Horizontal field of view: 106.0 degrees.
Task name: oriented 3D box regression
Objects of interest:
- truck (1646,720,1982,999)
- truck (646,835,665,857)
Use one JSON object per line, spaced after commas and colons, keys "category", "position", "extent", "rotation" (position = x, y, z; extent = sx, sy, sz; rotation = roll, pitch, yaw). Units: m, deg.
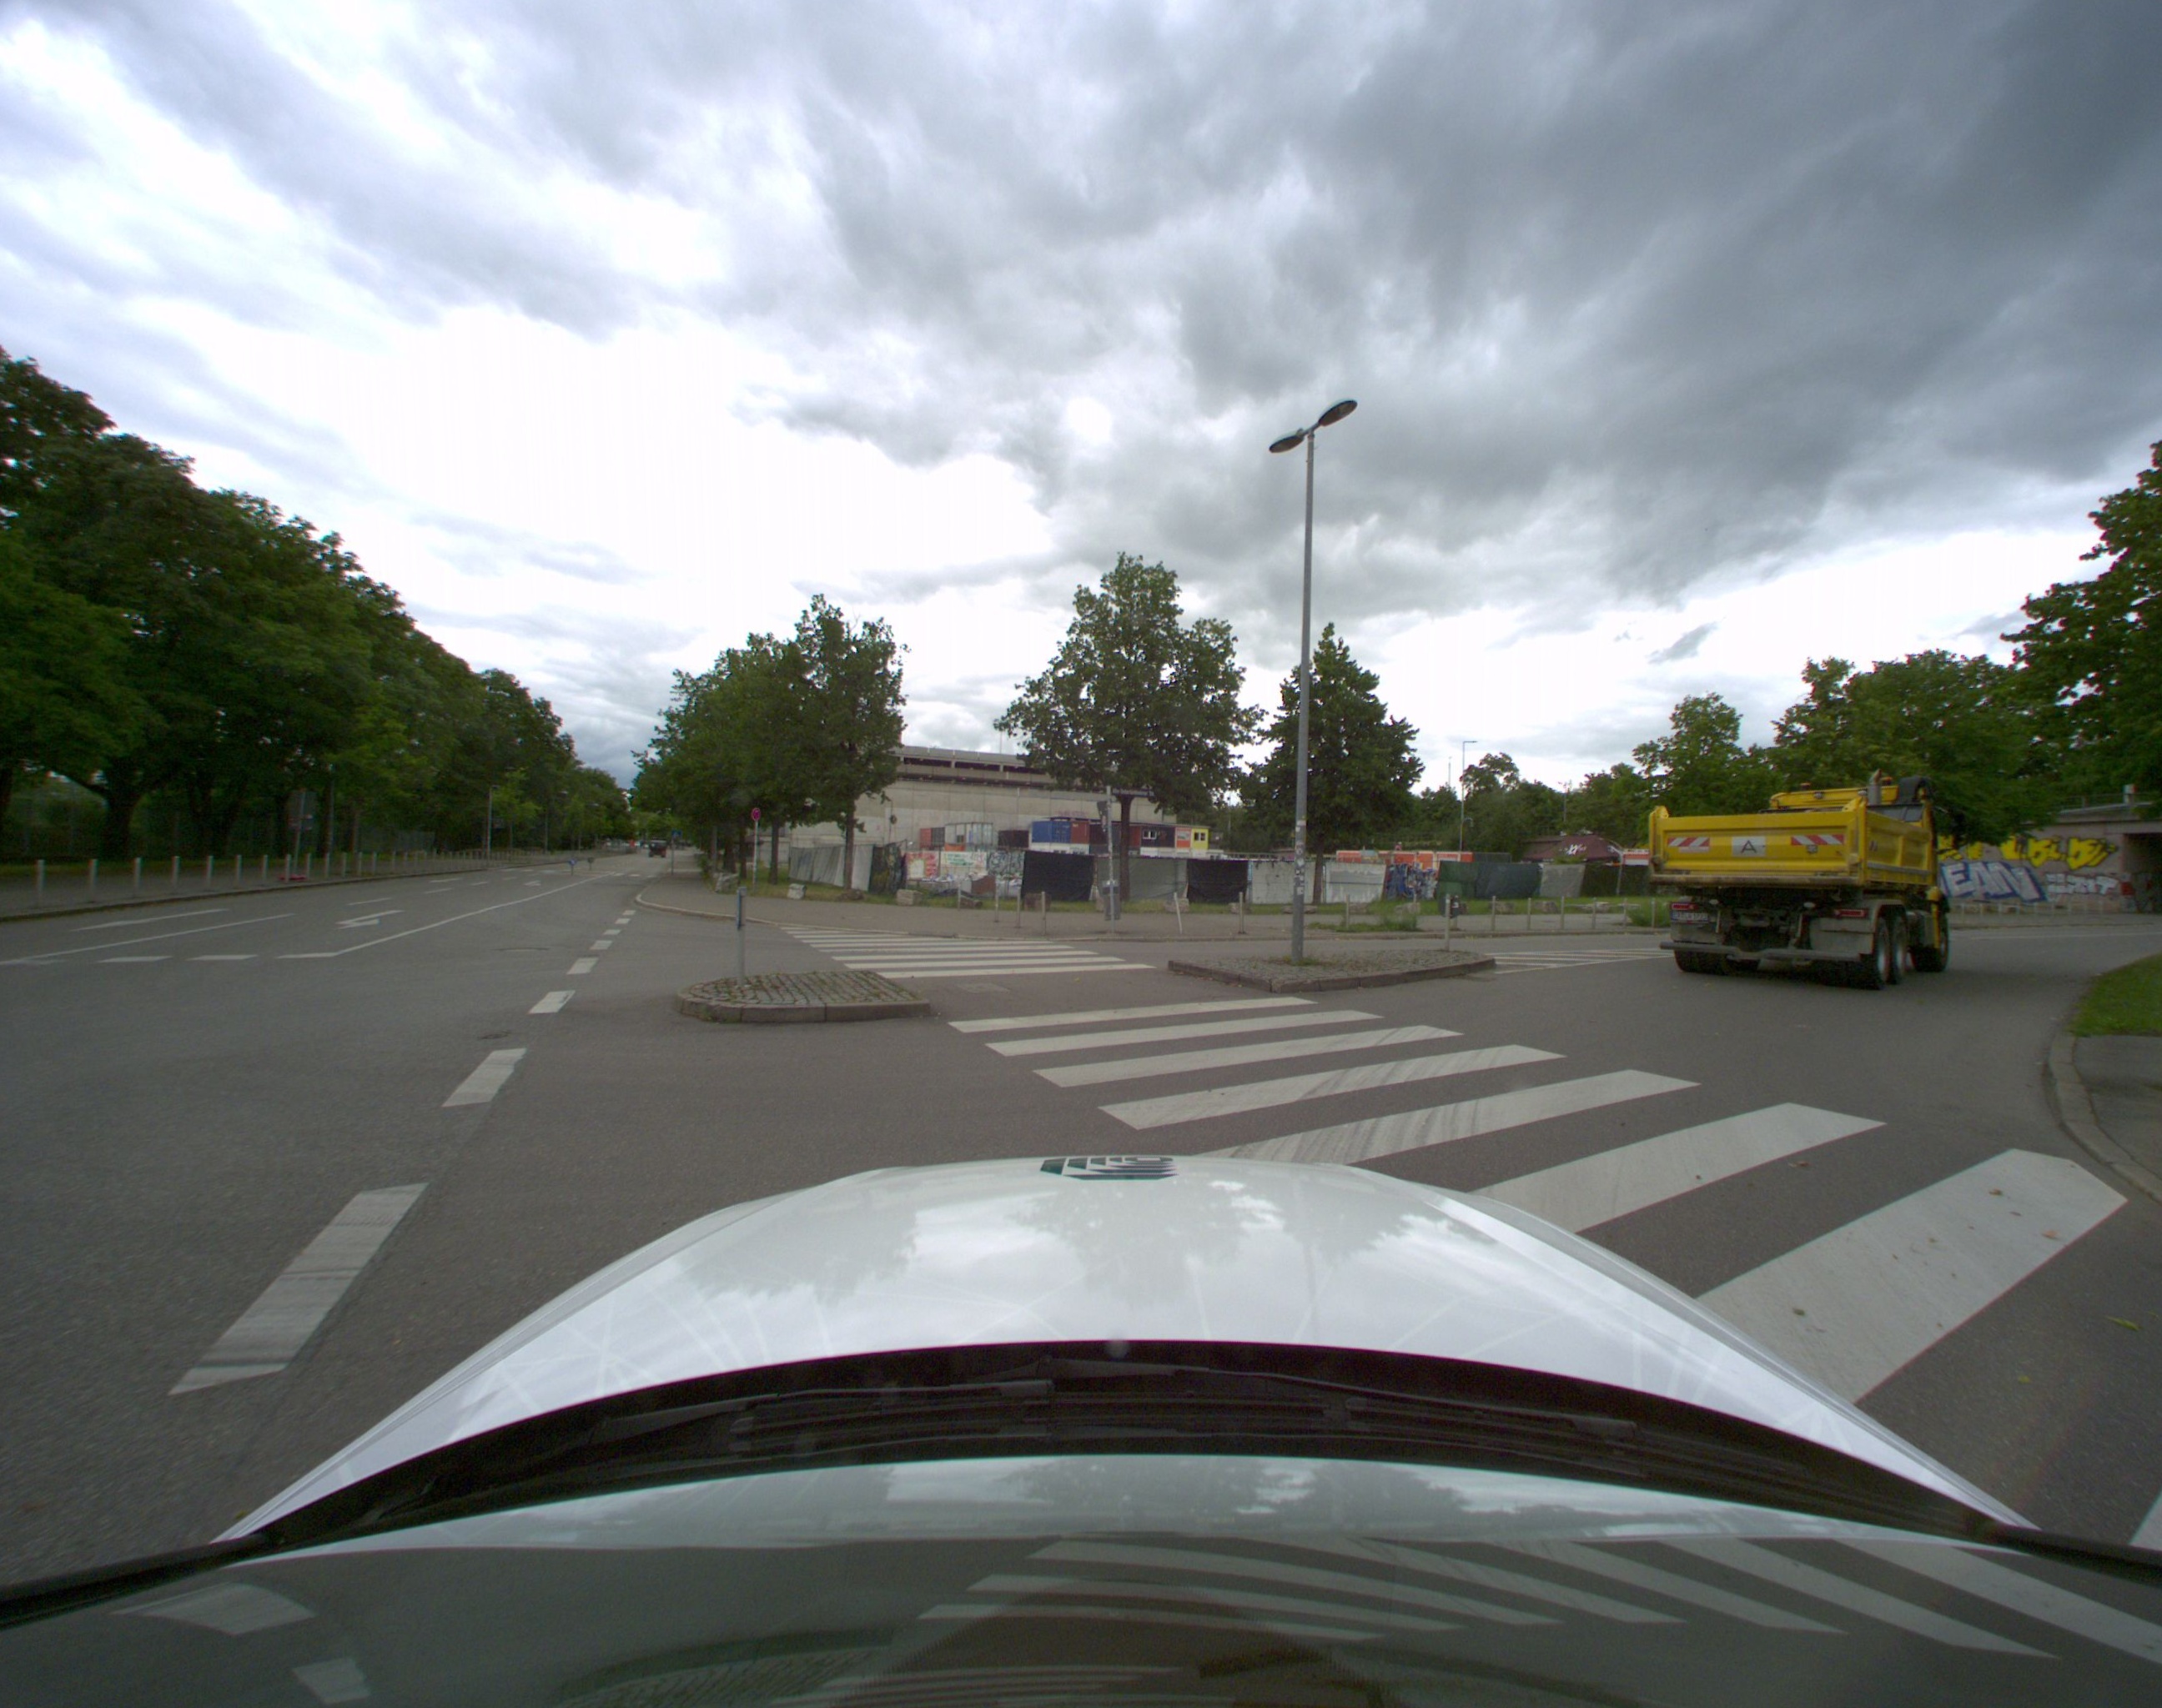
{"category": "truck", "position": [13.060, 0.120, 14.235], "extent": [7.913, 3.698, 2.737], "rotation": [1, 0, -36]}
{"category": "truck", "position": [-72.589, -1.369, 139.022], "extent": [2.687, 3.558, 7.854], "rotation": [-1, 0, -26]}
